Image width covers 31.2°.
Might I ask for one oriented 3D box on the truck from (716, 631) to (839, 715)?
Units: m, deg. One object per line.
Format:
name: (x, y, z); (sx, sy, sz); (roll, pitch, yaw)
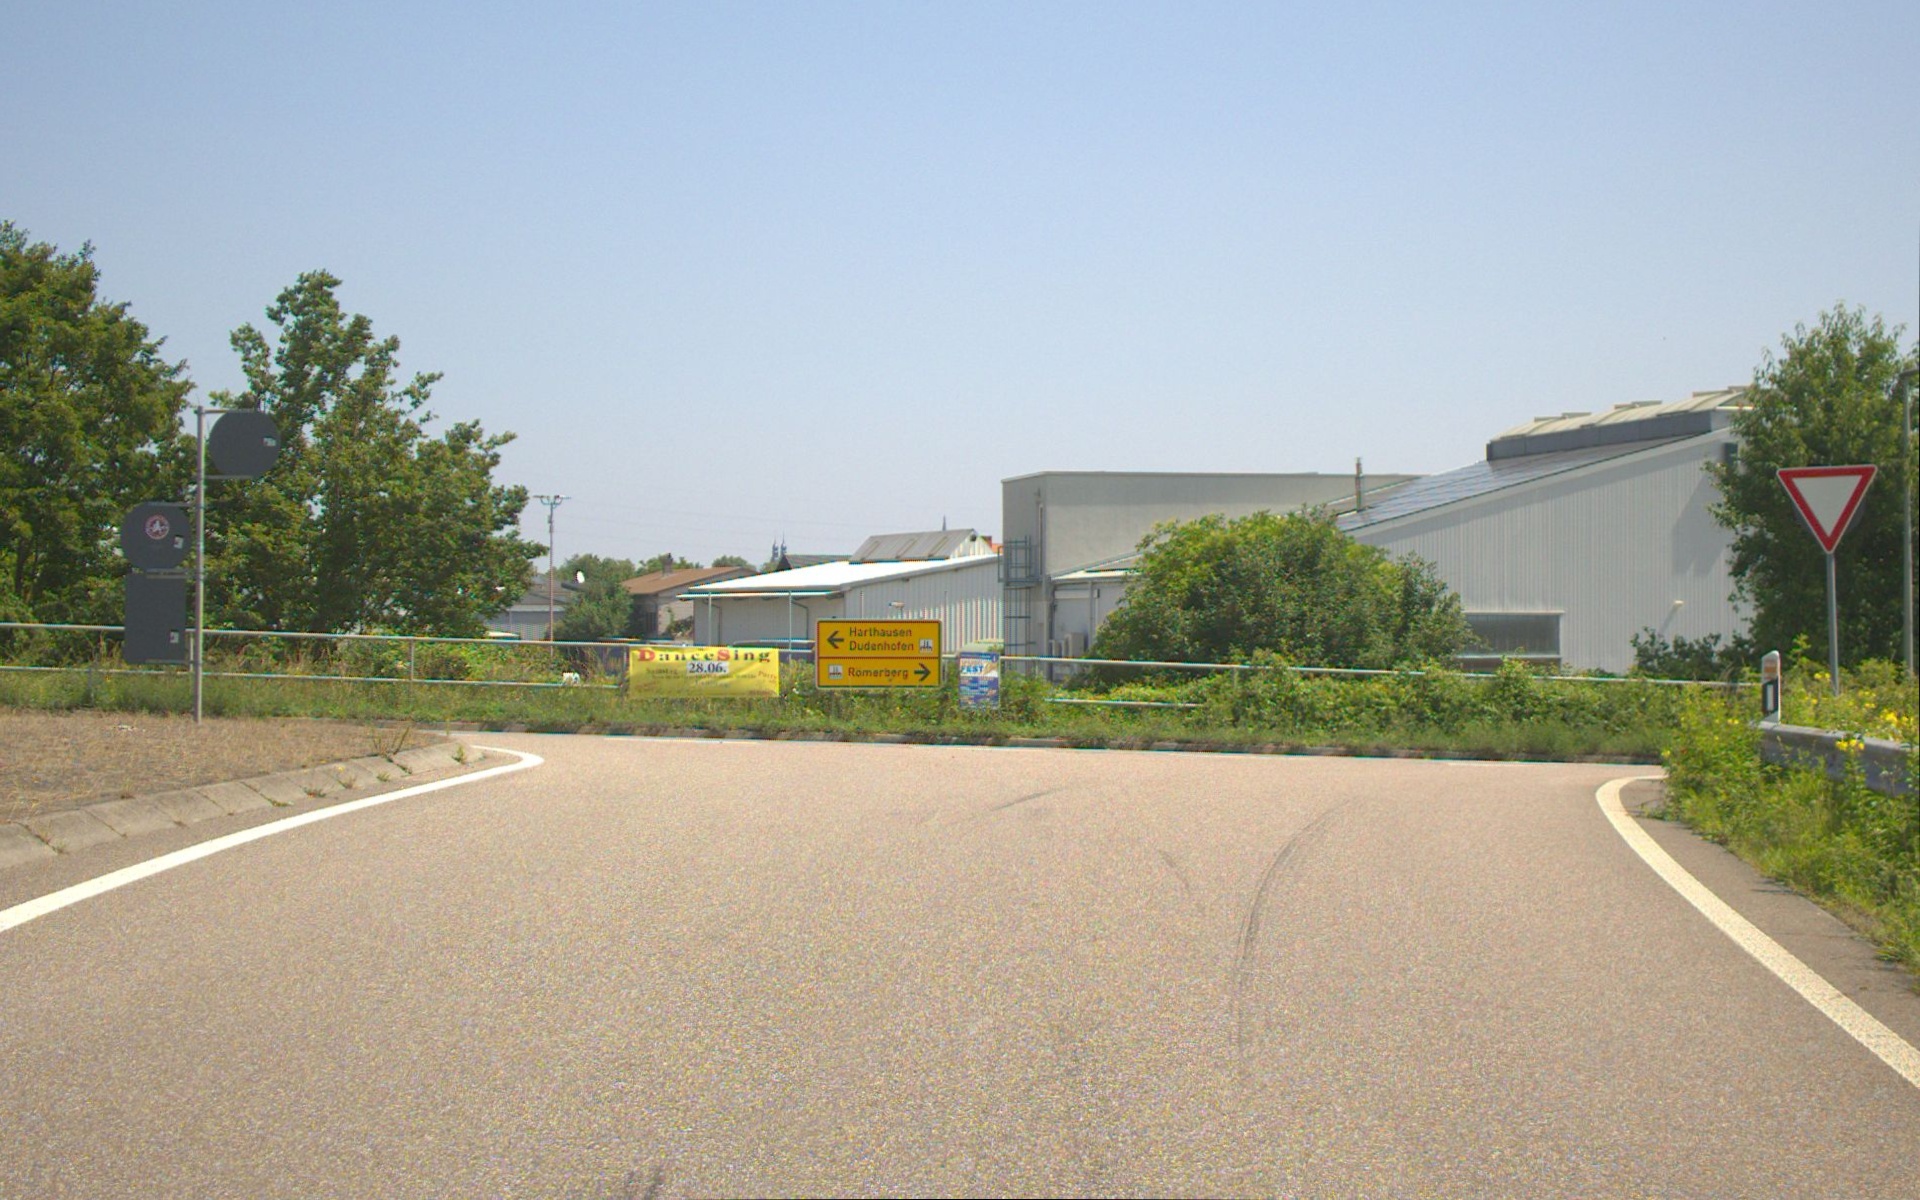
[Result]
truck: (-9.970, 3.884, 185.976); (3.707, 4.296, 13.345); (2, -1, -16)
